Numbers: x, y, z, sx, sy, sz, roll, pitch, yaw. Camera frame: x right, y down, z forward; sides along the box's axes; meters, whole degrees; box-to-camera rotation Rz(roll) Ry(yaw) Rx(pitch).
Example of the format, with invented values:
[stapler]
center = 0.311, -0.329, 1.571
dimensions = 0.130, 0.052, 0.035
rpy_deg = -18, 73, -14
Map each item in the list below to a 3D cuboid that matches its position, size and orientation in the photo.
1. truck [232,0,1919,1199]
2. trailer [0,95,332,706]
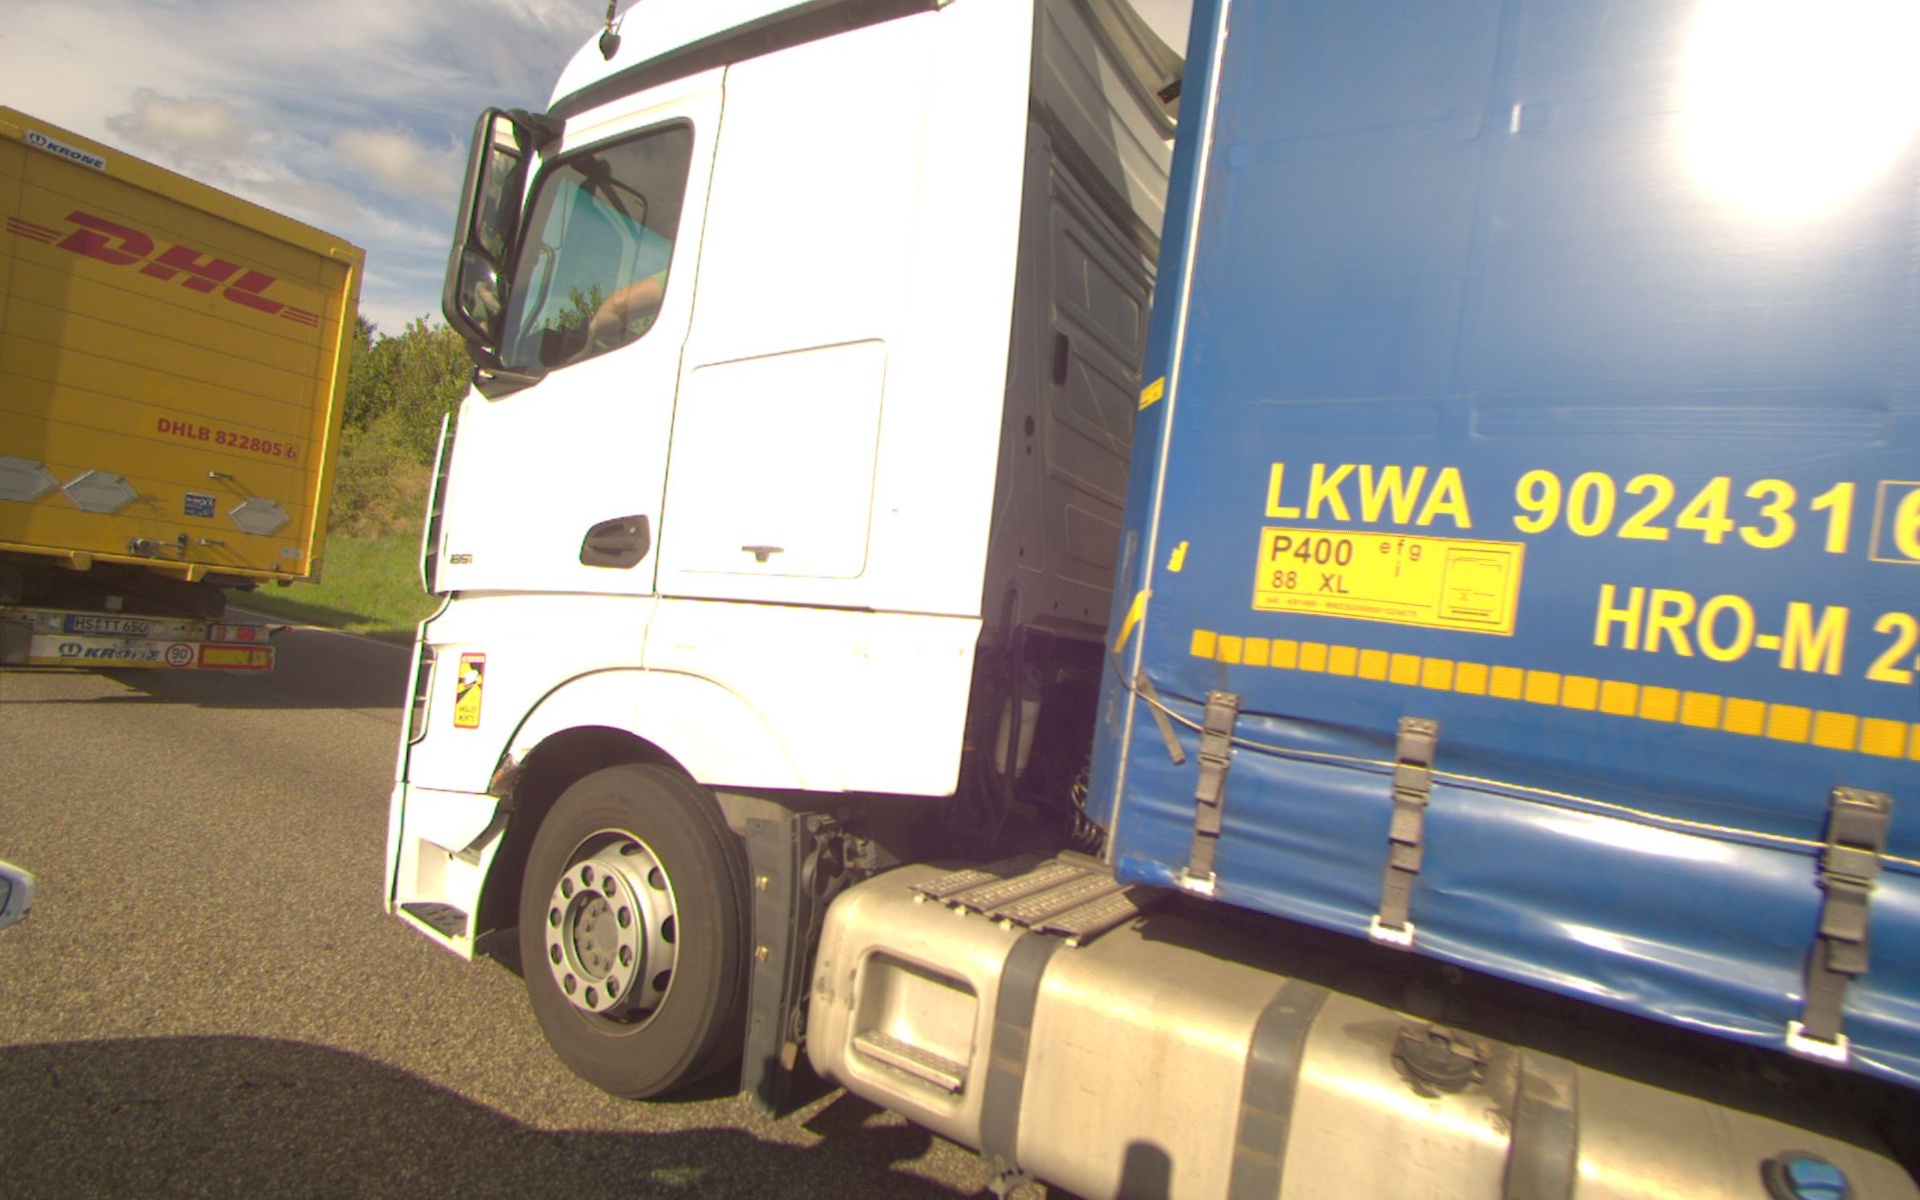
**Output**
[truck]
center = 1.027, -0.358, 3.128
dimensions = 6.383, 4.136, 2.654
rpy_deg = 7, -2, 31
[trailer]
center = -9.973, -1.710, 9.864
dimensions = 8.778, 4.116, 2.417
rpy_deg = 7, -1, 32
